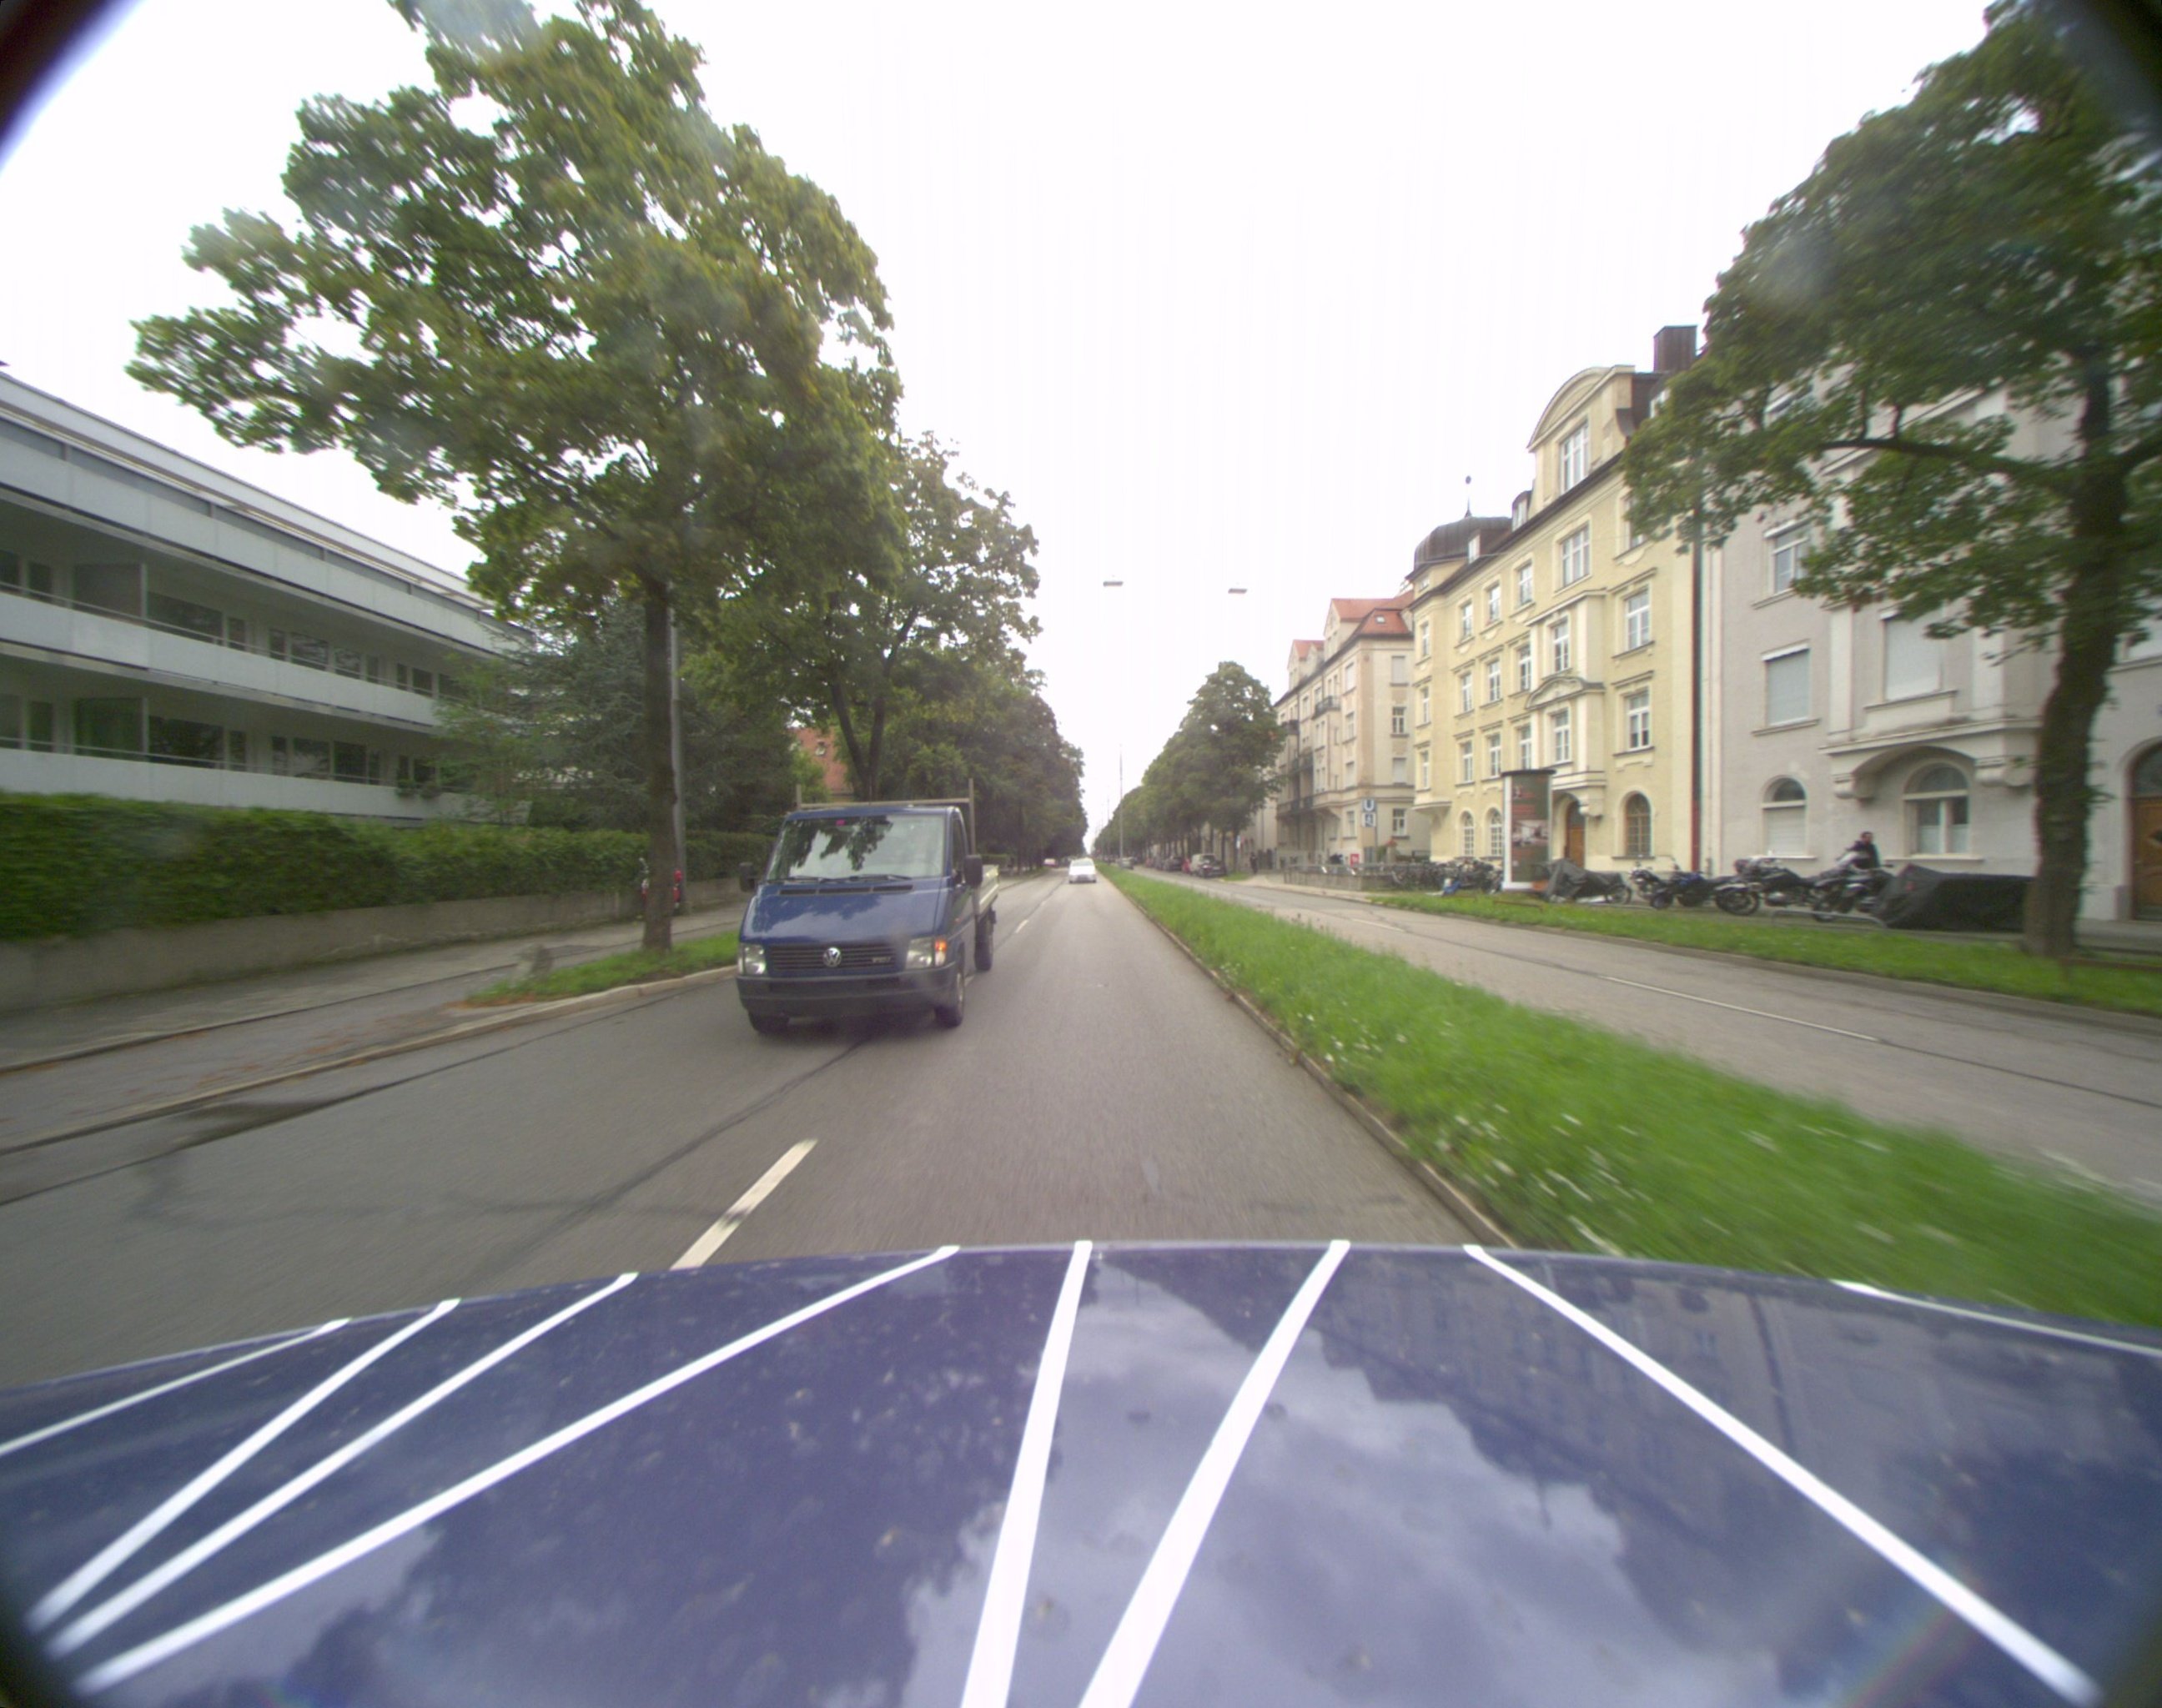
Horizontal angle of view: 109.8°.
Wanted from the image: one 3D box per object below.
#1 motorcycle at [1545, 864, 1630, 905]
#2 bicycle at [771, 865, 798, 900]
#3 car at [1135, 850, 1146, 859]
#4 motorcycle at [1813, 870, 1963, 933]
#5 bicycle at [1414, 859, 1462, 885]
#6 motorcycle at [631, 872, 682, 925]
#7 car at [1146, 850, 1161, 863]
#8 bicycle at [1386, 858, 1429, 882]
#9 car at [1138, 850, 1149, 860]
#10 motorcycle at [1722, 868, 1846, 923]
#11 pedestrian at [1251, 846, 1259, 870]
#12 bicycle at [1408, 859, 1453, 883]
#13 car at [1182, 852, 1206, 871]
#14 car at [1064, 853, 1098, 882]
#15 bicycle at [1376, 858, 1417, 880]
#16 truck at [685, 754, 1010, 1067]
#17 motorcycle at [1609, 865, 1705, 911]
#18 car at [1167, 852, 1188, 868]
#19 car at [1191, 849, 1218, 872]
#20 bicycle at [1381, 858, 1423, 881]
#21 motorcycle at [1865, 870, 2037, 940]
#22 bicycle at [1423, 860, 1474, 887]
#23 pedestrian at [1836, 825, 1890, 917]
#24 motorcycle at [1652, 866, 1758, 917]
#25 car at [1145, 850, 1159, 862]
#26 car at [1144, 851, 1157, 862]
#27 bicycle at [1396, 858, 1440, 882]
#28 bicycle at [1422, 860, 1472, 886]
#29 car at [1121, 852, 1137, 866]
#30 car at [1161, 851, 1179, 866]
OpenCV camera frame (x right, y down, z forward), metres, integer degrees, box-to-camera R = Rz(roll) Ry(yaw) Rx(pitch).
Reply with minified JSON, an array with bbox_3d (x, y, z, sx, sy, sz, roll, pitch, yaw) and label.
[{"bbox_3d":[14.485,0.860,21.784,1.954,1.143,0.597,-1,1,21],"label":"motorcycle"},{"bbox_3d":[-9.871,0.942,25.318,0.490,1.092,1.631,-1,0,-10],"label":"bicycle"},{"bbox_3d":[11.914,0.162,152.902,1.872,1.827,4.000,-1,0,1],"label":"car"},{"bbox_3d":[15.698,0.889,14.859,1.953,1.143,0.597,0,1,38],"label":"motorcycle"},{"bbox_3d":[16.431,0.830,35.027,1.954,1.143,0.597,-1,1,21],"label":"bicycle"},{"bbox_3d":[-9.915,1.008,17.784,0.497,1.135,1.631,-1,0,-10],"label":"motorcycle"},{"bbox_3d":[11.009,0.351,115.339,1.872,1.827,4.000,-1,0,1],"label":"car"},{"bbox_3d":[16.361,0.800,38.148,1.954,1.143,0.597,-1,1,21],"label":"bicycle"},{"bbox_3d":[12.168,0.213,147.571,1.872,1.827,4.000,-1,0,1],"label":"car"},{"bbox_3d":[15.407,0.878,16.728,1.953,1.143,0.597,0,1,38],"label":"motorcycle"},{"bbox_3d":[14.670,0.322,64.002,0.641,2.031,0.738,-1,1,12],"label":"pedestrian"},{"bbox_3d":[16.643,0.811,36.220,1.954,1.143,0.597,-1,1,21],"label":"bicycle"},{"bbox_3d":[11.453,0.739,77.384,1.872,1.827,4.000,-1,0,1],"label":"car"},{"bbox_3d":[0.010,0.780,46.484,1.946,1.642,4.000,-1,0,0],"label":"car"},{"bbox_3d":[16.409,0.781,39.585,1.954,1.143,0.597,-1,1,21],"label":"bicycle"},{"bbox_3d":[-2.098,0.453,8.623,1.998,2.475,5.151,-1,0,1],"label":"truck"},{"bbox_3d":[14.959,0.863,19.772,1.953,1.143,0.597,0,1,38],"label":"motorcycle"},{"bbox_3d":[11.160,0.645,88.085,1.872,1.827,4.000,-1,0,1],"label":"car"},{"bbox_3d":[11.083,0.556,68.310,1.790,2.002,4.000,-1,0,1],"label":"car"},{"bbox_3d":[16.383,0.790,38.864,1.954,1.143,0.597,-1,1,21],"label":"bicycle"},{"bbox_3d":[15.437,0.877,13.566,1.953,1.143,0.597,0,1,38],"label":"motorcycle"},{"bbox_3d":[16.048,0.865,33.198,1.954,1.143,0.597,-1,1,21],"label":"bicycle"},{"bbox_3d":[17.760,0.373,17.270,0.599,2.048,0.685,0,1,20],"label":"pedestrian"},{"bbox_3d":[14.981,0.878,18.300,1.953,1.143,0.597,0,1,38],"label":"motorcycle"},{"bbox_3d":[11.221,0.294,120.495,1.872,1.827,4.000,-1,0,1],"label":"car"},{"bbox_3d":[11.727,0.435,129.052,1.872,1.827,4.000,-1,0,1],"label":"car"},{"bbox_3d":[16.513,0.802,37.296,1.954,1.143,0.597,-1,1,21],"label":"bicycle"},{"bbox_3d":[16.304,0.848,33.862,1.954,1.143,0.597,-1,1,21],"label":"bicycle"},{"bbox_3d":[6.151,0.594,97.075,1.814,1.761,4.000,-1,0,1],"label":"car"},{"bbox_3d":[11.375,0.546,96.887,1.872,1.827,4.000,-1,0,1],"label":"car"}]
